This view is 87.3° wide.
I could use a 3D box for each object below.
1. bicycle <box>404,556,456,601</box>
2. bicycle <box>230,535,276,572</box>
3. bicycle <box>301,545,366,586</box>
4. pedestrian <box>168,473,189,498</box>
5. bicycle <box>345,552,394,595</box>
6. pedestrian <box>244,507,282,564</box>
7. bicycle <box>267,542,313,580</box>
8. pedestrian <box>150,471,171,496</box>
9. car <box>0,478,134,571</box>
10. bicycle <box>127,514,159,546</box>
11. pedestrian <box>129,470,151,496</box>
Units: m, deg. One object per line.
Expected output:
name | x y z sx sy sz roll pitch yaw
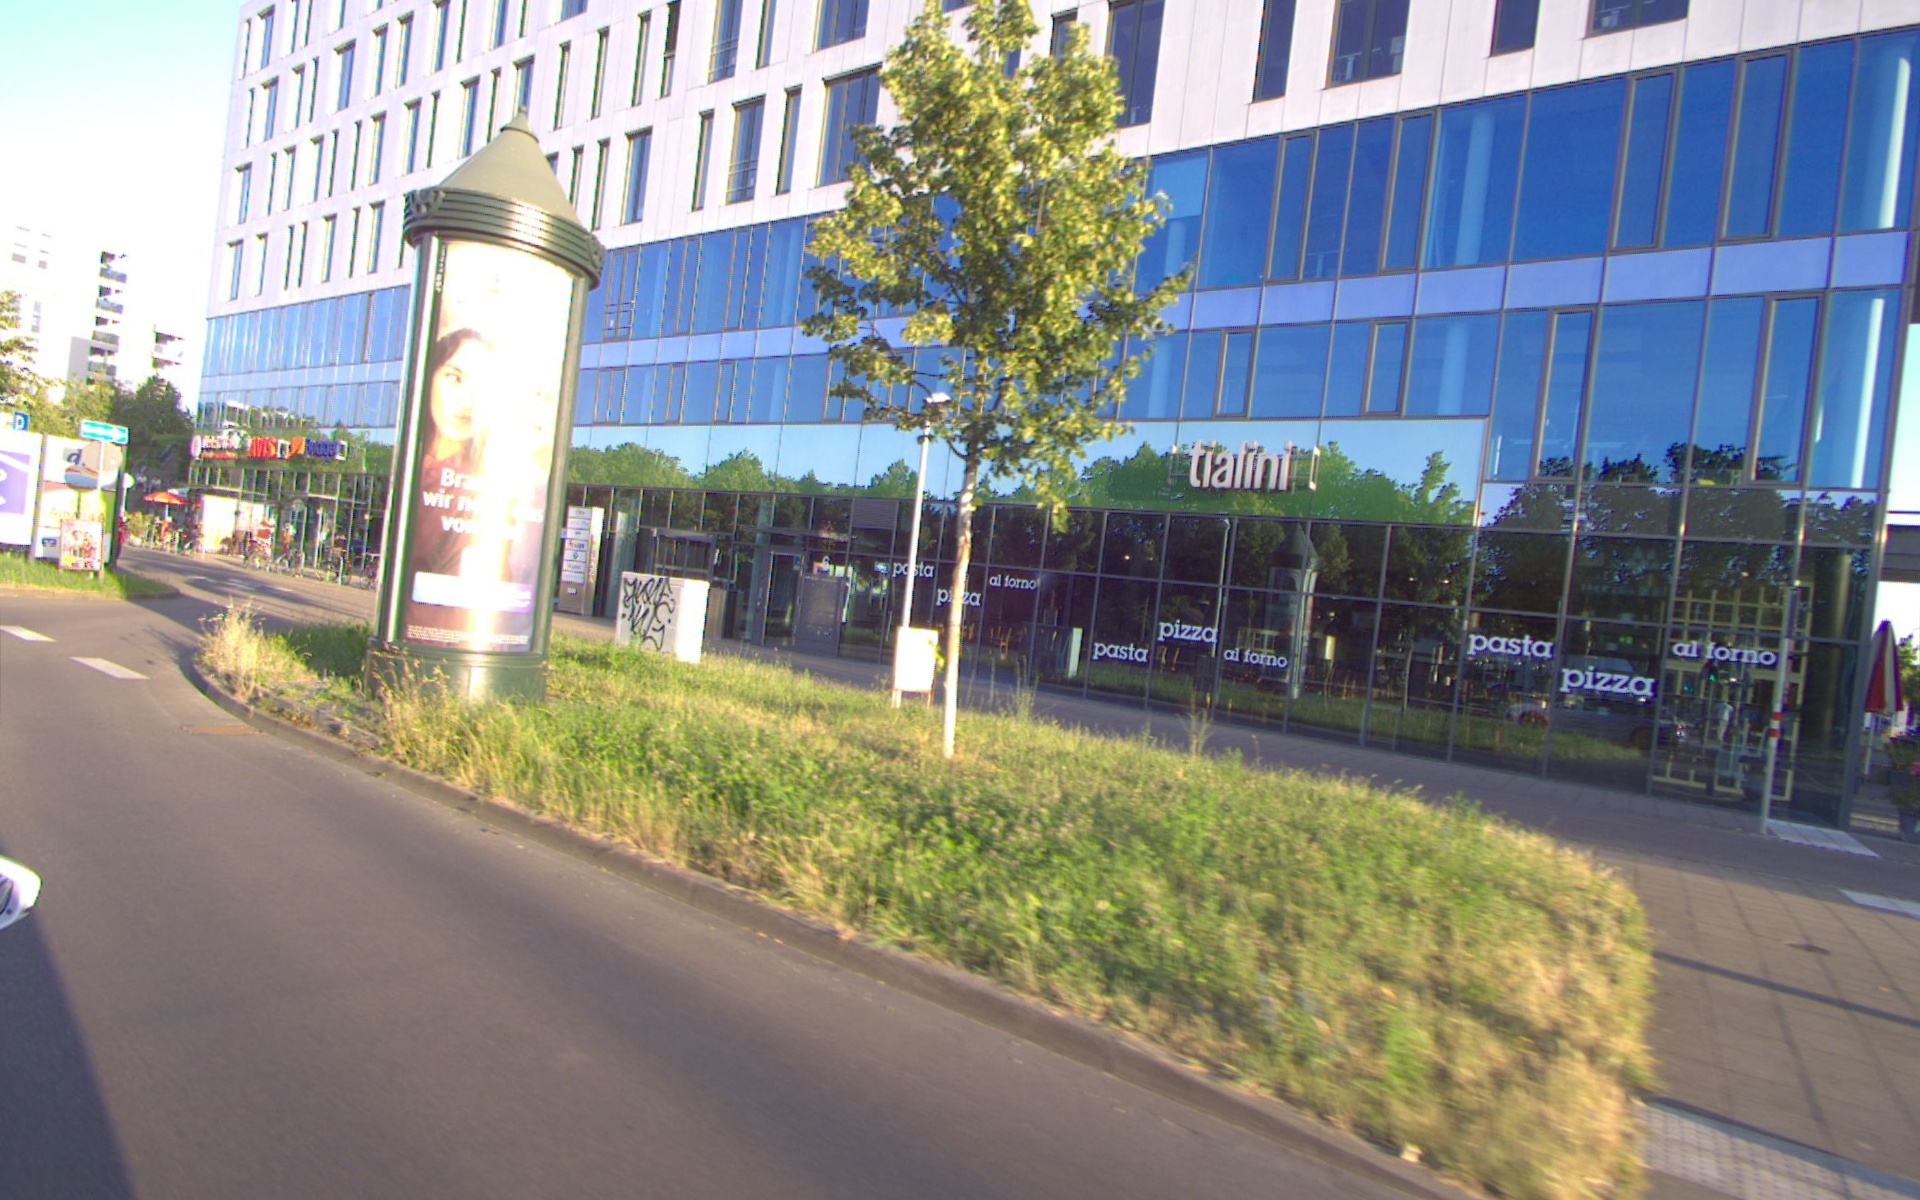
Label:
bicycle | -14.944 -0.618 28.353 1.977 1.081 0.541 7 0 42
bicycle | -24.510 -1.623 34.841 2.090 1.081 0.634 7 0 38
bicycle | -19.798 -1.090 31.780 2.084 1.081 0.636 7 0 25
pedestrian | -50.966 -7.465 65.605 0.805 1.474 1.104 5 1 -29
bicycle | -17.636 -0.809 30.003 2.094 1.081 0.633 7 0 44
pedestrian | -27.429 -2.542 39.585 1.096 2.116 0.811 7 1 37
bicycle | -22.339 -1.306 33.526 2.091 1.081 0.634 7 0 39
pedestrian | -51.923 -7.572 65.352 0.805 1.474 1.104 5 1 -29
car | -22.855 -1.932 25.423 4.326 1.848 1.853 6 -2 36
bicycle | -34.169 -2.938 42.064 1.609 1.169 0.492 7 0 33
pedestrian | -52.811 -7.516 64.819 0.805 1.474 1.104 5 1 -29
